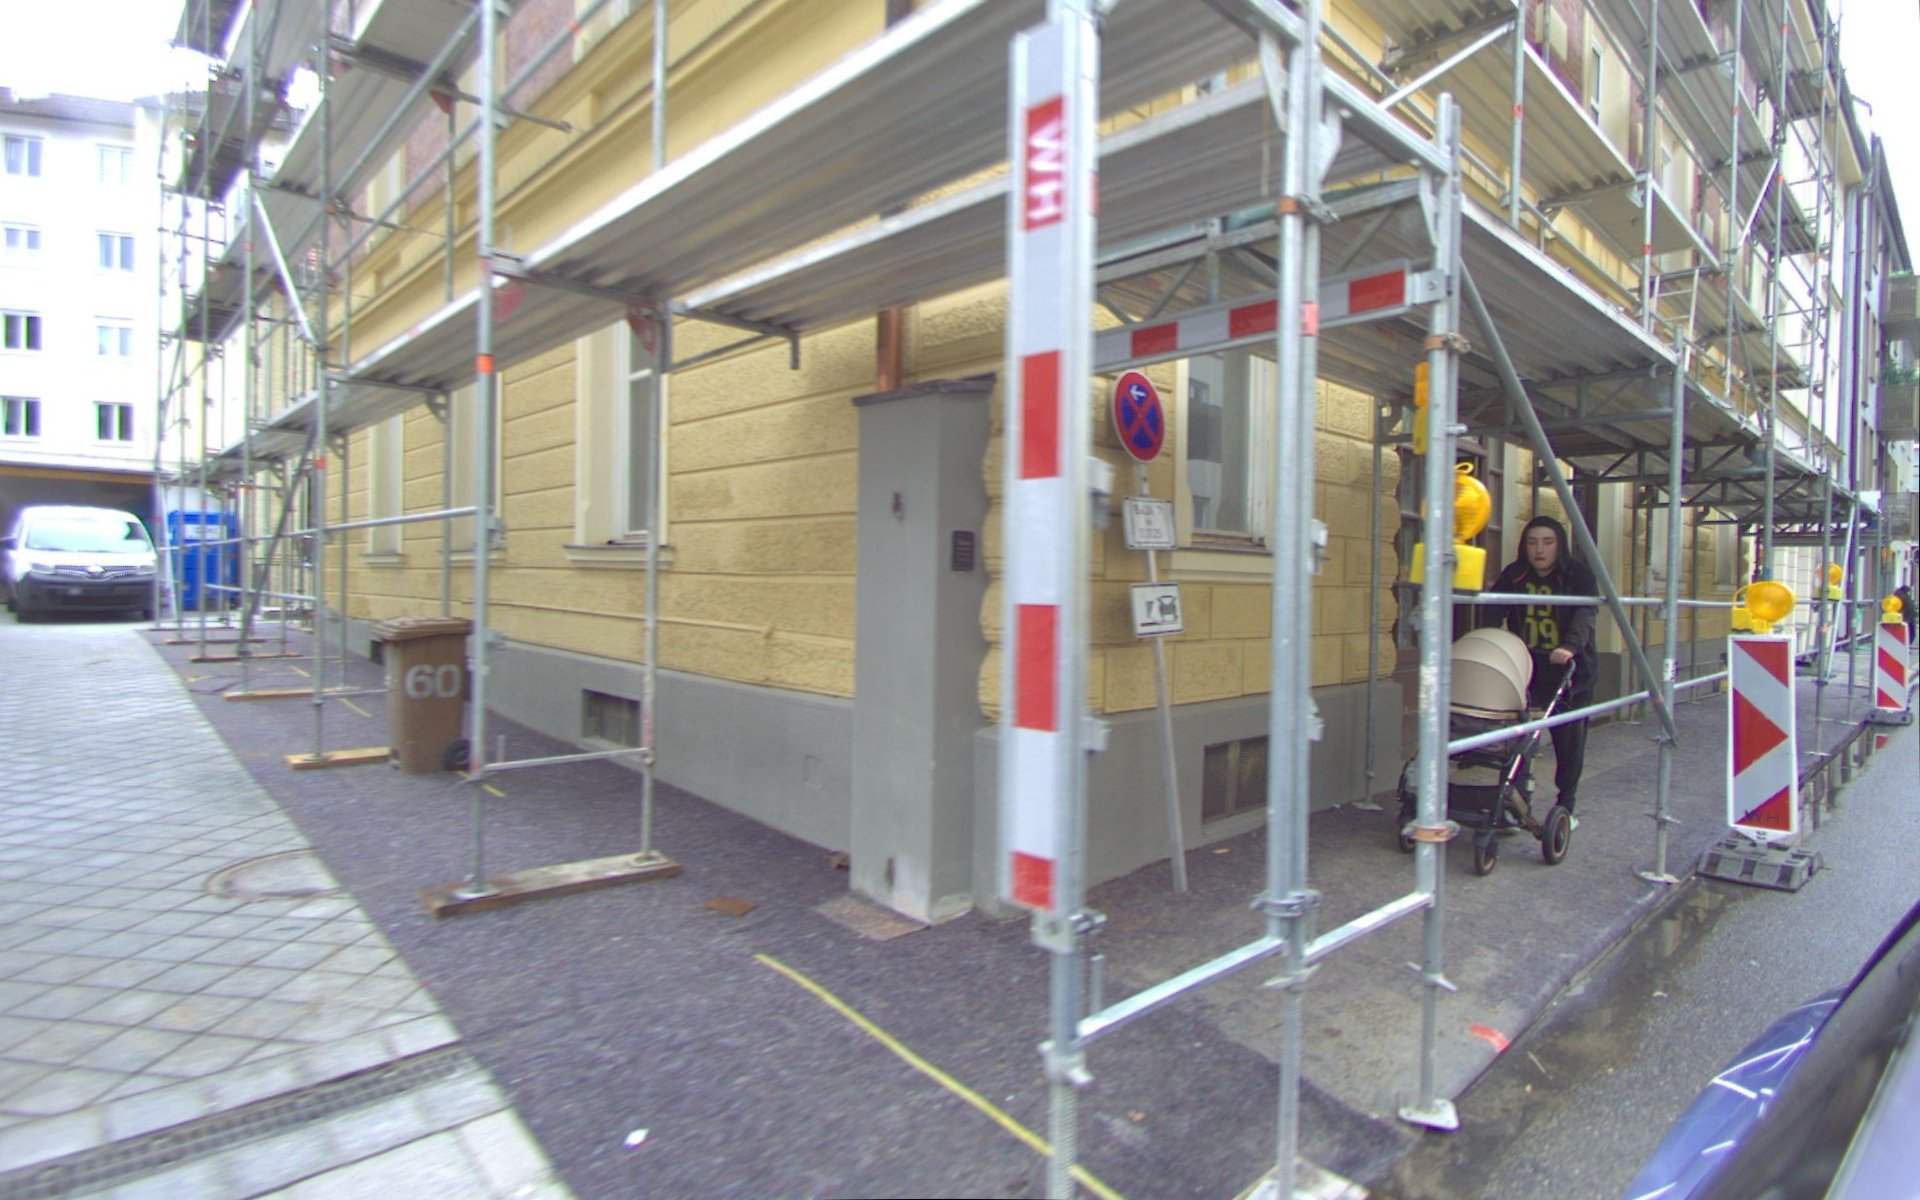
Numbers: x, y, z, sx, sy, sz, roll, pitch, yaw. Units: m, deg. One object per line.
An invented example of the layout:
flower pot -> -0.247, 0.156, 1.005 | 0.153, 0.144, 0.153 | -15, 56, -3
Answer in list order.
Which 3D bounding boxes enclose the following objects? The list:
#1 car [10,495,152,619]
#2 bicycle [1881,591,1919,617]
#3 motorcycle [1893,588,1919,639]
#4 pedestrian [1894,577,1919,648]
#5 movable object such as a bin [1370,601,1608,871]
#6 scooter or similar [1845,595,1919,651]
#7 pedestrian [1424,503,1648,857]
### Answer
car -> -14.430, -0.700, 16.638 | 1.604, 1.791, 3.994 | 0, 2, -41
bicycle -> 49.536, 0.217, 52.990 | 1.784, 1.339, 0.583 | 1, 2, 22
motorcycle -> 28.845, 0.417, 30.472 | 1.899, 1.439, 0.807 | 0, 6, -43
pedestrian -> 23.744, 0.313, 25.109 | 0.575, 1.707, 0.661 | 1, 3, -38
movable object such as a bin -> 2.711, 0.620, 5.173 | 0.972, 1.154, 0.730 | 0, 5, -44
scooter or similar -> 21.956, 0.543, 23.909 | 1.576, 1.198, 0.496 | 3, 3, -2
pedestrian -> 3.232, 0.383, 5.674 | 0.972, 1.773, 0.730 | 0, 4, -44
